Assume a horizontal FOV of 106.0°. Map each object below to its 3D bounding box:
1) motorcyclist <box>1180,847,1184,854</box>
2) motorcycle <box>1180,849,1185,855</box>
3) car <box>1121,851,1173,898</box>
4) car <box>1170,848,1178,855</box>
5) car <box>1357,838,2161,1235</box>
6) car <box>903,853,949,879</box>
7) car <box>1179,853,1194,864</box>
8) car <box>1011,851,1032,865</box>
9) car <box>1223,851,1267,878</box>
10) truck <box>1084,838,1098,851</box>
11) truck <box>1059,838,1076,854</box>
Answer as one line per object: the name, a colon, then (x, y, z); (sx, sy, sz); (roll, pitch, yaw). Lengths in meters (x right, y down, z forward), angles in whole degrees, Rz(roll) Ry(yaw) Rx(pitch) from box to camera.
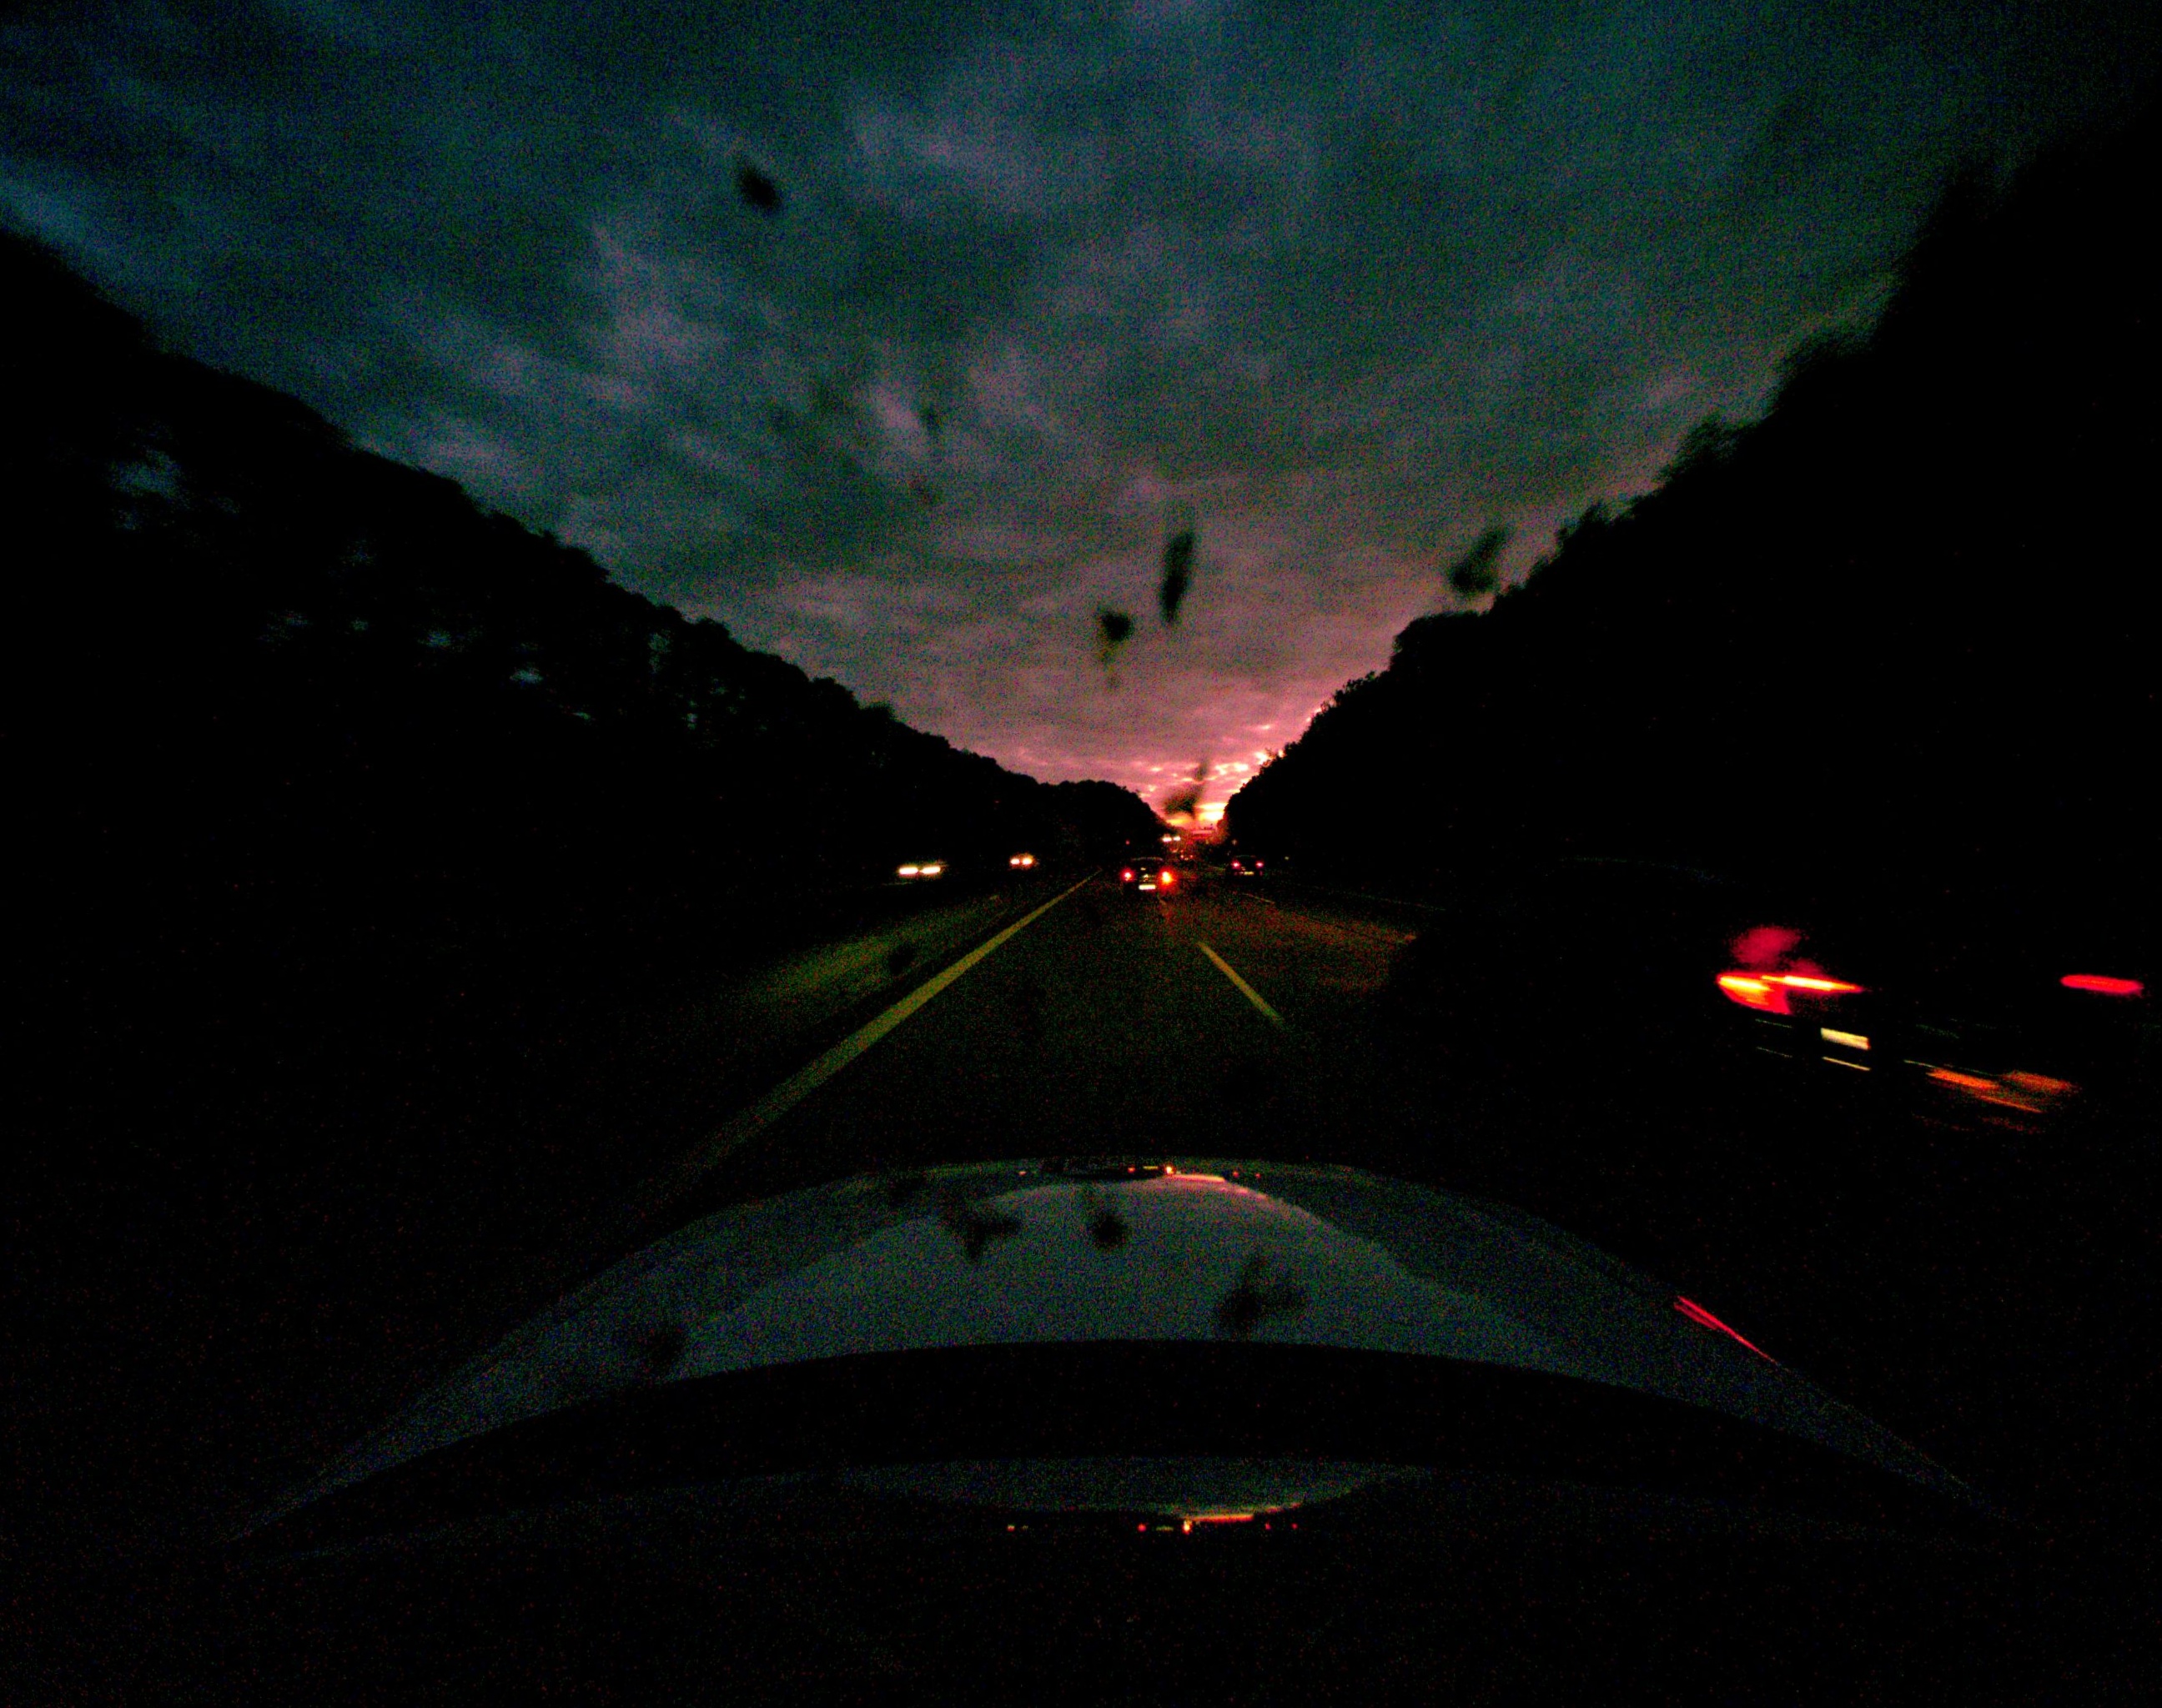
motorcyclist: (21.545, -0.730, 173.210); (0.825, 1.291, 1.193); (-2, 0, 9)
motorcycle: (21.574, -0.384, 173.277); (0.825, 1.134, 2.482); (-2, 0, 9)
car: (2.276, 0.659, 28.782); (1.697, 1.509, 4.235); (-1, 0, 3)
car: (21.610, -0.643, 189.566); (1.856, 1.494, 4.405); (-1, 0, 5)
car: (3.530, 0.698, 5.567); (1.685, 1.490, 4.950); (-1, 0, 1)
car: (-9.190, 0.690, 48.544); (1.813, 1.479, 4.372); (-1, 0, 1)
car: (14.227, 0.560, 109.884); (1.817, 1.475, 4.405); (-1, 0, 5)
car: (-6.362, 0.406, 87.699); (1.813, 1.479, 4.372); (-1, 0, 1)
car: (9.364, 0.577, 46.936); (1.857, 1.435, 4.588); (-1, 1, 3)
truck: (3.340, -3.087, 261.392); (3.171, 4.104, 7.712); (-1, 1, 10)
truck: (-3.599, -2.117, 220.915); (3.171, 4.104, 7.712); (-1, 1, 10)
